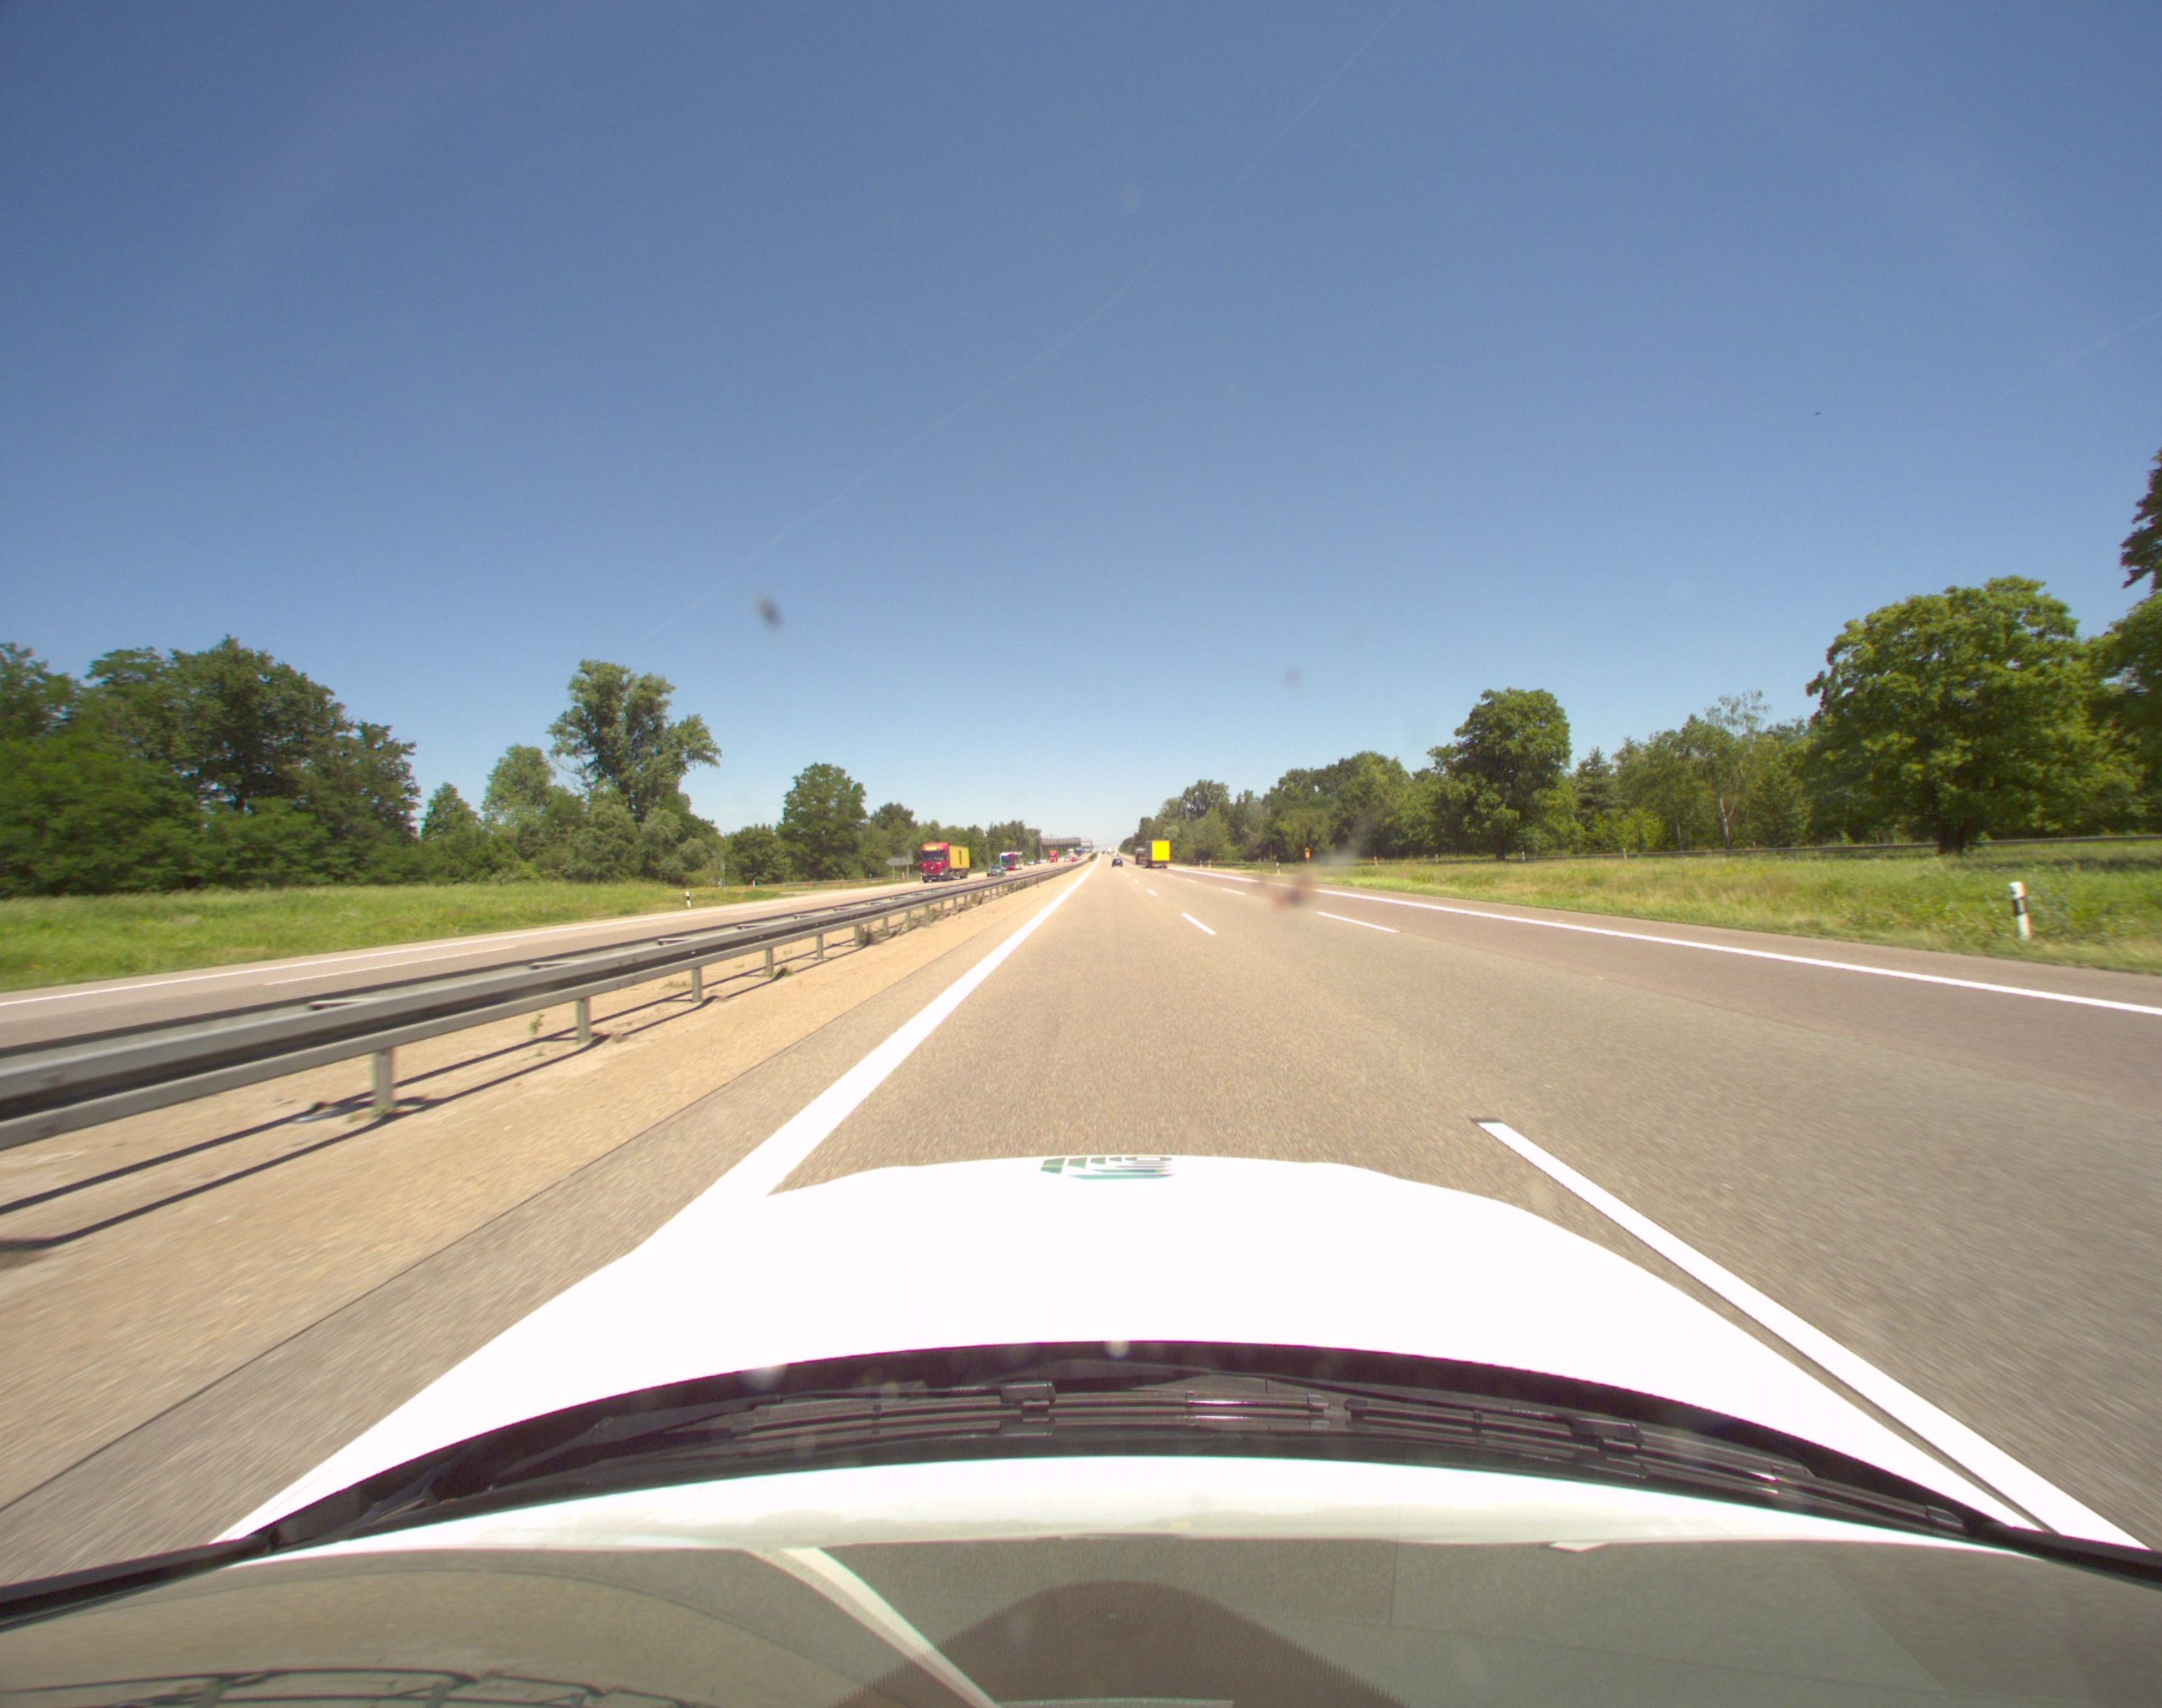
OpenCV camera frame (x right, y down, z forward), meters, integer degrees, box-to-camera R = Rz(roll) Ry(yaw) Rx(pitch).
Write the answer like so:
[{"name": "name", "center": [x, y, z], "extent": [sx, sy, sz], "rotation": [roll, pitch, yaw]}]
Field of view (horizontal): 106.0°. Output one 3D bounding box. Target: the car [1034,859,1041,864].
[{"name": "car", "center": [-13.649, 2.442, 257.256], "extent": [1.802, 1.504, 4.001], "rotation": [-2, 0, 2]}]

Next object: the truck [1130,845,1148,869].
[{"name": "truck", "center": [12.350, 0.585, 173.232], "extent": [3.353, 4.881, 15.094], "rotation": [0, 0, 2]}]

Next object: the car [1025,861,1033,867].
[{"name": "car", "center": [-14.741, 2.849, 230.442], "extent": [1.802, 1.772, 4.001], "rotation": [-2, 0, 2]}]

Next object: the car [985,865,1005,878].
[{"name": "car", "center": [-10.345, 2.095, 97.869], "extent": [1.715, 1.380, 4.786], "rotation": [-5, -1, 0]}]

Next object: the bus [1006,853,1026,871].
[{"name": "bus", "center": [-12.856, 1.561, 161.632], "extent": [2.753, 3.447, 10.149], "rotation": [-2, 0, 2]}]

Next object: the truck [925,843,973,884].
[{"name": "truck", "center": [-14.523, 1.026, 90.931], "extent": [2.590, 4.047, 12.697], "rotation": [-4, -1, 2]}]

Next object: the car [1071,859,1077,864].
[{"name": "car", "center": [-2.307, 2.223, 258.015], "extent": [1.802, 1.504, 4.001], "rotation": [-2, 0, 2]}]

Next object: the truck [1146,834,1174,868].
[{"name": "truck", "center": [11.957, -0.420, 124.647], "extent": [3.363, 4.881, 15.094], "rotation": [0, 0, 2]}]

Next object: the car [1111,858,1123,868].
[{"name": "car", "center": [6.236, 1.490, 141.389], "extent": [1.820, 1.706, 4.001], "rotation": [0, 0, 1]}]

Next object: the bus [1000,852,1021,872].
[{"name": "bus", "center": [-13.144, 1.496, 152.067], "extent": [2.753, 3.447, 8.935], "rotation": [-2, 0, 2]}]

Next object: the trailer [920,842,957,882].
[{"name": "trailer", "center": [-14.672, 0.799, 84.182], "extent": [2.593, 3.992, 6.031], "rotation": [0, 0, 2]}]
